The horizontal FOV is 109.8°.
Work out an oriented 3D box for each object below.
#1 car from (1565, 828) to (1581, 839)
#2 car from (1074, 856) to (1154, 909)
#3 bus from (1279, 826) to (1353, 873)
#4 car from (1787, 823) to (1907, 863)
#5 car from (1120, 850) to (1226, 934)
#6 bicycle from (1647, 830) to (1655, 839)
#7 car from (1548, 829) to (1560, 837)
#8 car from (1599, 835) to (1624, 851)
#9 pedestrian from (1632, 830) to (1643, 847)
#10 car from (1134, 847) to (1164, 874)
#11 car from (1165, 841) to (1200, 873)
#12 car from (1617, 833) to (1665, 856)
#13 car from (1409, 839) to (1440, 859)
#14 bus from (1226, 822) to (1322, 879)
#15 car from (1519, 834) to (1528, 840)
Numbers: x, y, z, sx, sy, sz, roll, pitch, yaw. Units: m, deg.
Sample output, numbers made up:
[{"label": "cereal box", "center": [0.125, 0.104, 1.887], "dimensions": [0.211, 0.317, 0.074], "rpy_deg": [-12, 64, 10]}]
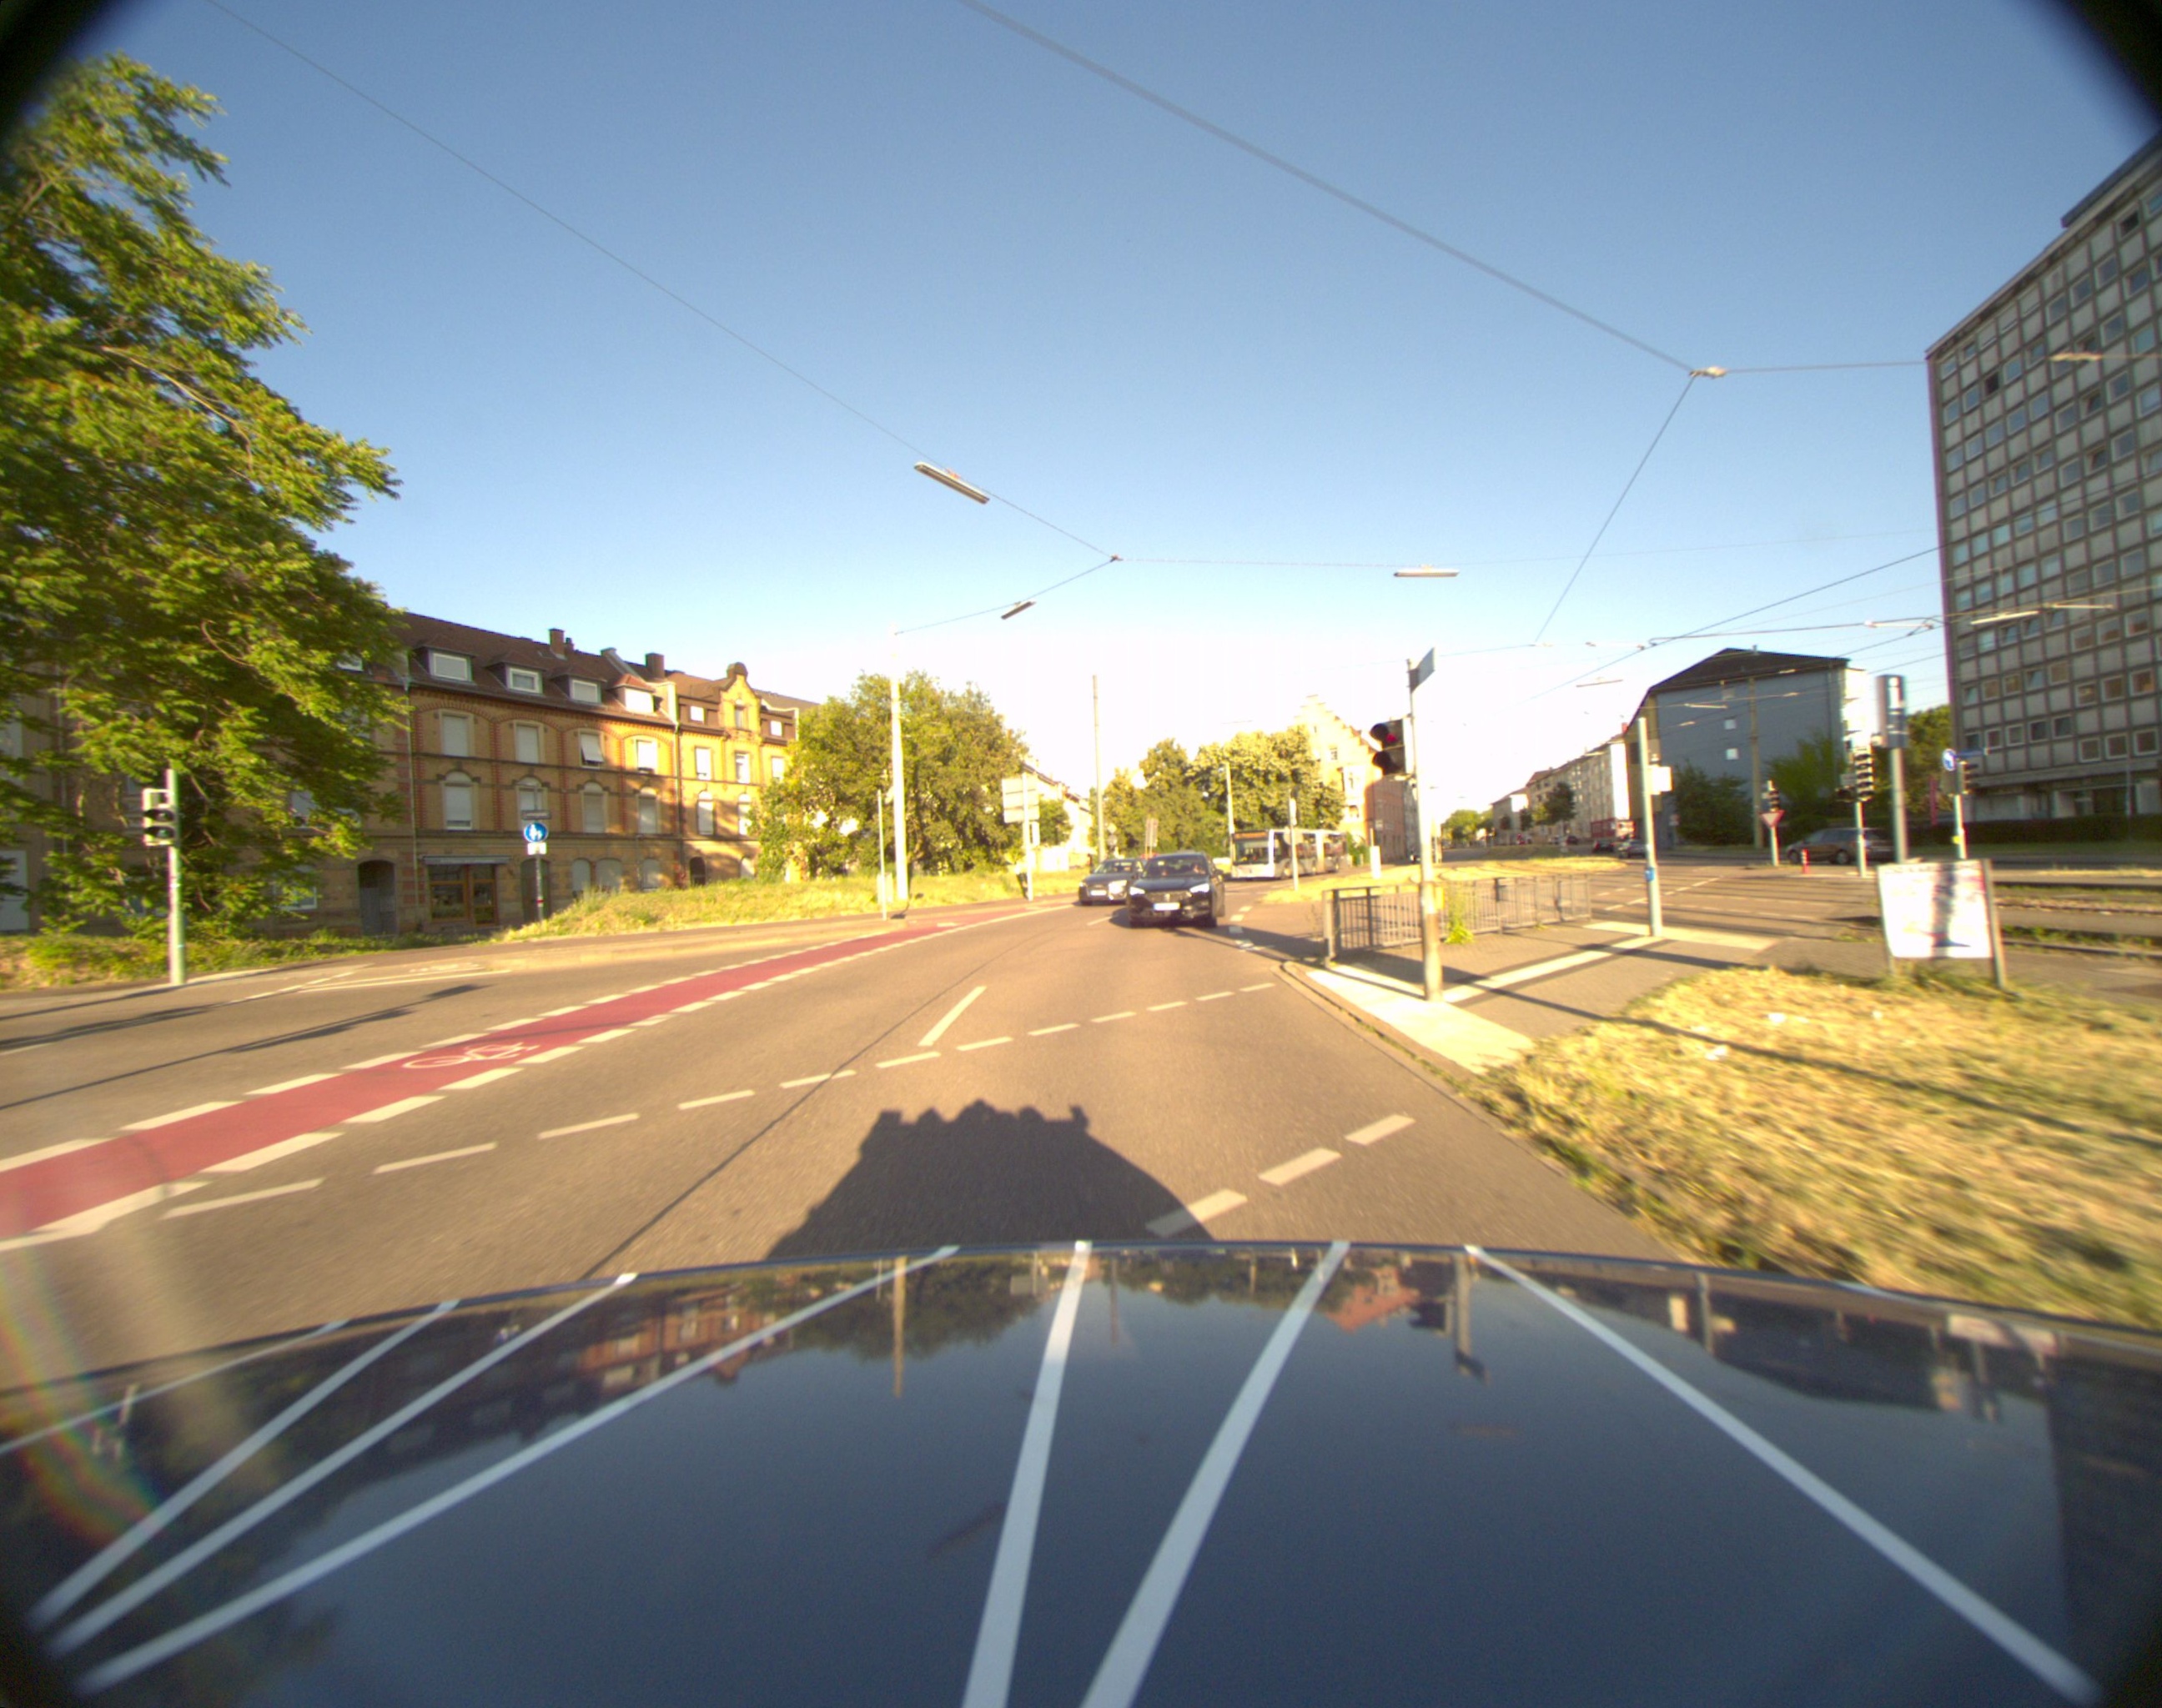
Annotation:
[{"label": "car", "center": [82.340, -3.399, 127.182], "dimensions": [1.919, 1.652, 4.717], "rpy_deg": [-2, 0, 29]}, {"label": "car", "center": [1.231, 0.930, 26.177], "dimensions": [1.769, 1.577, 4.073], "rpy_deg": [-4, -1, 16]}, {"label": "bus", "center": [17.366, -0.298, 55.462], "dimensions": [2.707, 3.059, 10.621], "rpy_deg": [-2, 0, 31]}, {"label": "car", "center": [34.000, -0.488, 33.896], "dimensions": [1.583, 1.586, 4.155], "rpy_deg": [-3, 0, 8]}, {"label": "car", "center": [2.240, 0.776, 17.475], "dimensions": [1.786, 1.615, 4.220], "rpy_deg": [-2, 0, 15]}, {"label": "bicycle", "center": [63.212, -2.133, 84.267], "dimensions": [0.427, 0.919, 1.915], "rpy_deg": [-7, -2, 32]}, {"label": "car", "center": [90.257, -4.065, 144.909], "dimensions": [1.698, 1.451, 4.323], "rpy_deg": [-2, 1, 28]}, {"label": "car", "center": [56.392, -1.154, 80.829], "dimensions": [1.777, 1.473, 4.407], "rpy_deg": [-2, 1, 30]}, {"label": "pedestrian", "center": [60.048, -1.669, 81.996], "dimensions": [0.593, 1.762, 0.887], "rpy_deg": [-8, -3, 31]}, {"label": "car", "center": [6.036, 0.563, 67.737], "dimensions": [2.042, 2.201, 5.415], "rpy_deg": [-3, 0, -1]}, {"label": "car", "center": [9.032, 0.245, 68.162], "dimensions": [2.042, 2.650, 6.215], "rpy_deg": [-3, 0, -1]}, {"label": "car", "center": [42.751, -0.759, 58.142], "dimensions": [1.653, 1.586, 4.592], "rpy_deg": [-3, 0, 20]}, {"label": "car", "center": [32.511, -0.451, 71.836], "dimensions": [1.995, 1.761, 4.007], "rpy_deg": [-2, 0, 33]}, {"label": "bus", "center": [11.972, -0.218, 46.213], "dimensions": [2.726, 3.059, 10.621], "rpy_deg": [-2, 0, 31]}, {"label": "car", "center": [109.886, -4.196, 188.743], "dimensions": [1.794, 1.461, 4.803], "rpy_deg": [-1, 2, 28]}]
